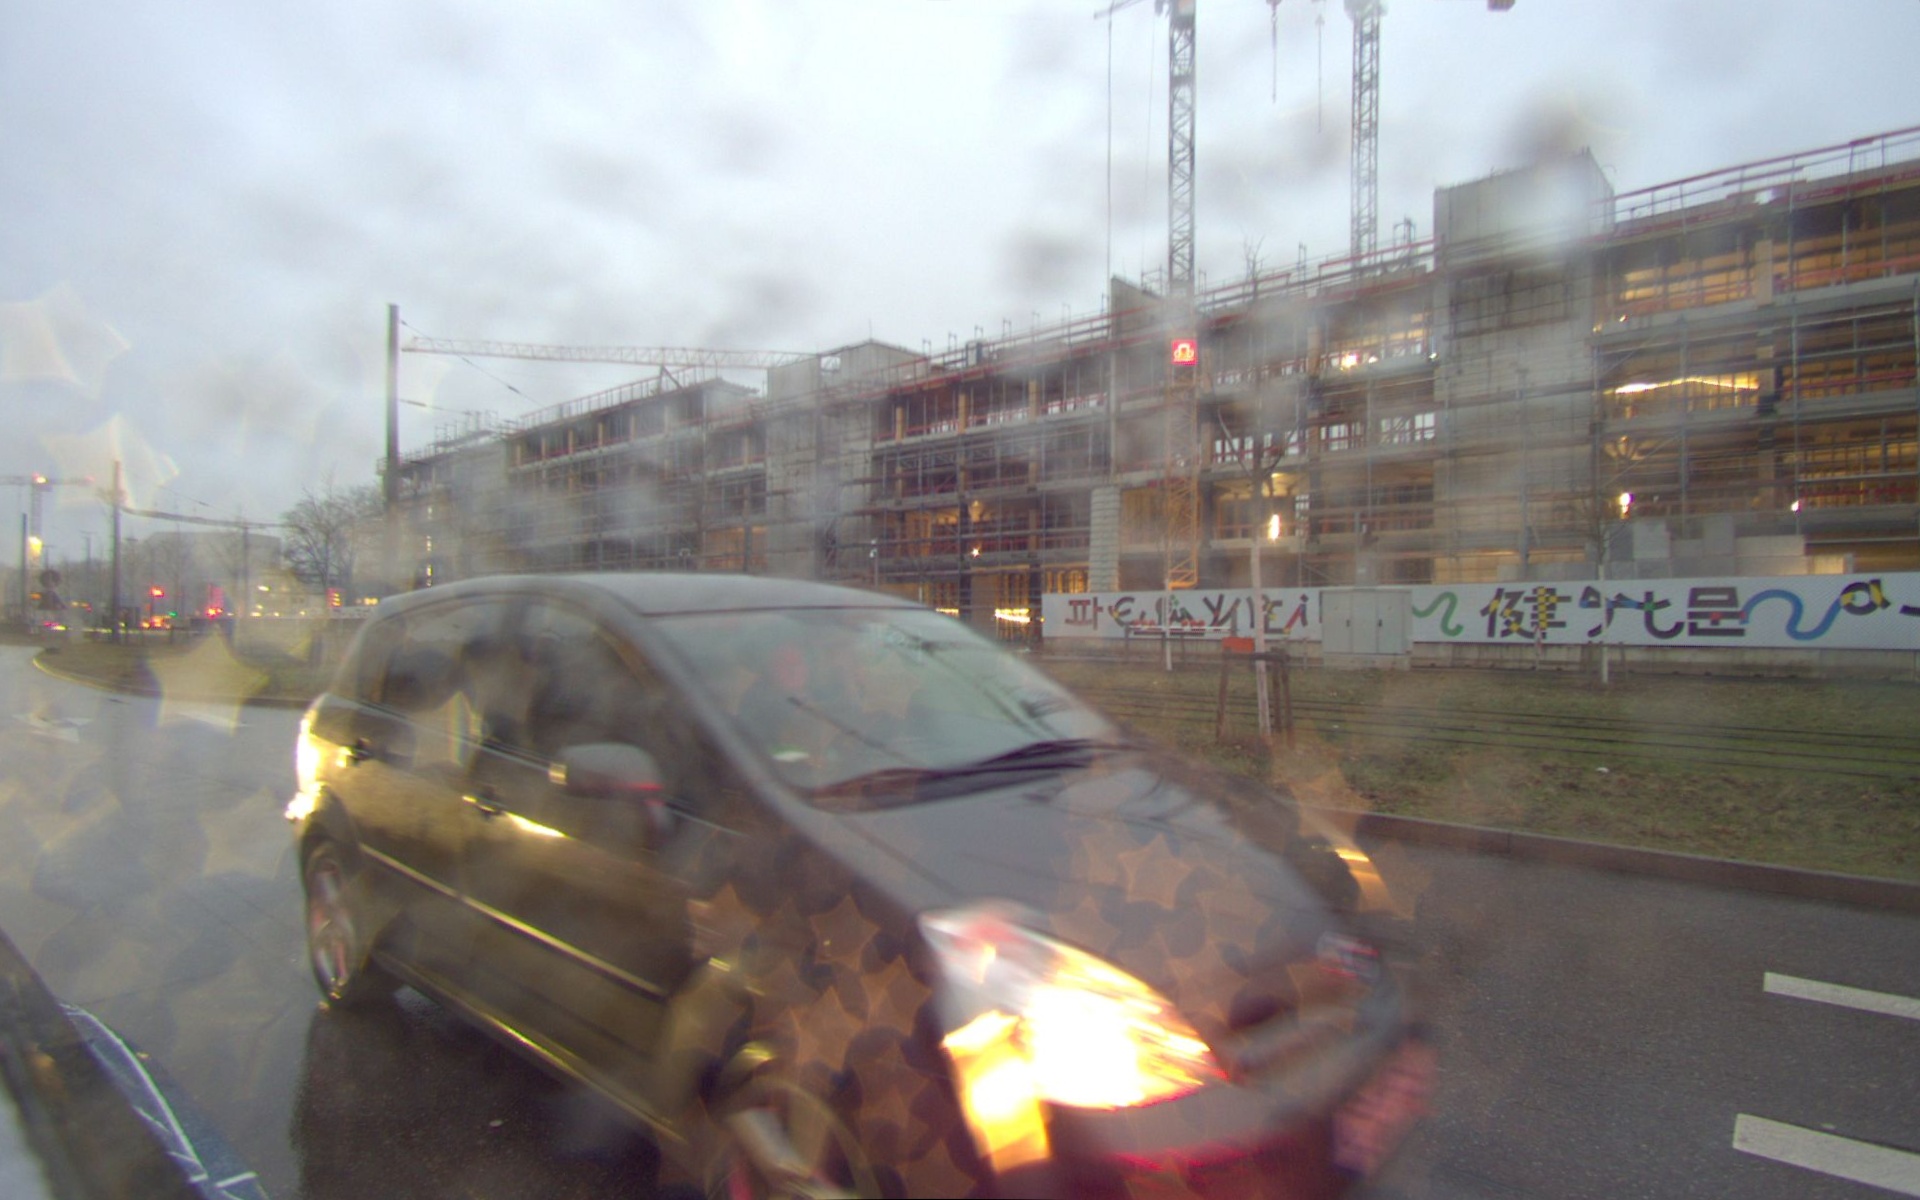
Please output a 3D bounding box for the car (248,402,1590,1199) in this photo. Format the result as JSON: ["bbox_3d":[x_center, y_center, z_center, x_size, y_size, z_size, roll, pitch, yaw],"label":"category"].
[{"bbox_3d":[-0.545,0.628,3.223,4.131,1.659,1.793,-1,-1,39],"label":"car"}]
